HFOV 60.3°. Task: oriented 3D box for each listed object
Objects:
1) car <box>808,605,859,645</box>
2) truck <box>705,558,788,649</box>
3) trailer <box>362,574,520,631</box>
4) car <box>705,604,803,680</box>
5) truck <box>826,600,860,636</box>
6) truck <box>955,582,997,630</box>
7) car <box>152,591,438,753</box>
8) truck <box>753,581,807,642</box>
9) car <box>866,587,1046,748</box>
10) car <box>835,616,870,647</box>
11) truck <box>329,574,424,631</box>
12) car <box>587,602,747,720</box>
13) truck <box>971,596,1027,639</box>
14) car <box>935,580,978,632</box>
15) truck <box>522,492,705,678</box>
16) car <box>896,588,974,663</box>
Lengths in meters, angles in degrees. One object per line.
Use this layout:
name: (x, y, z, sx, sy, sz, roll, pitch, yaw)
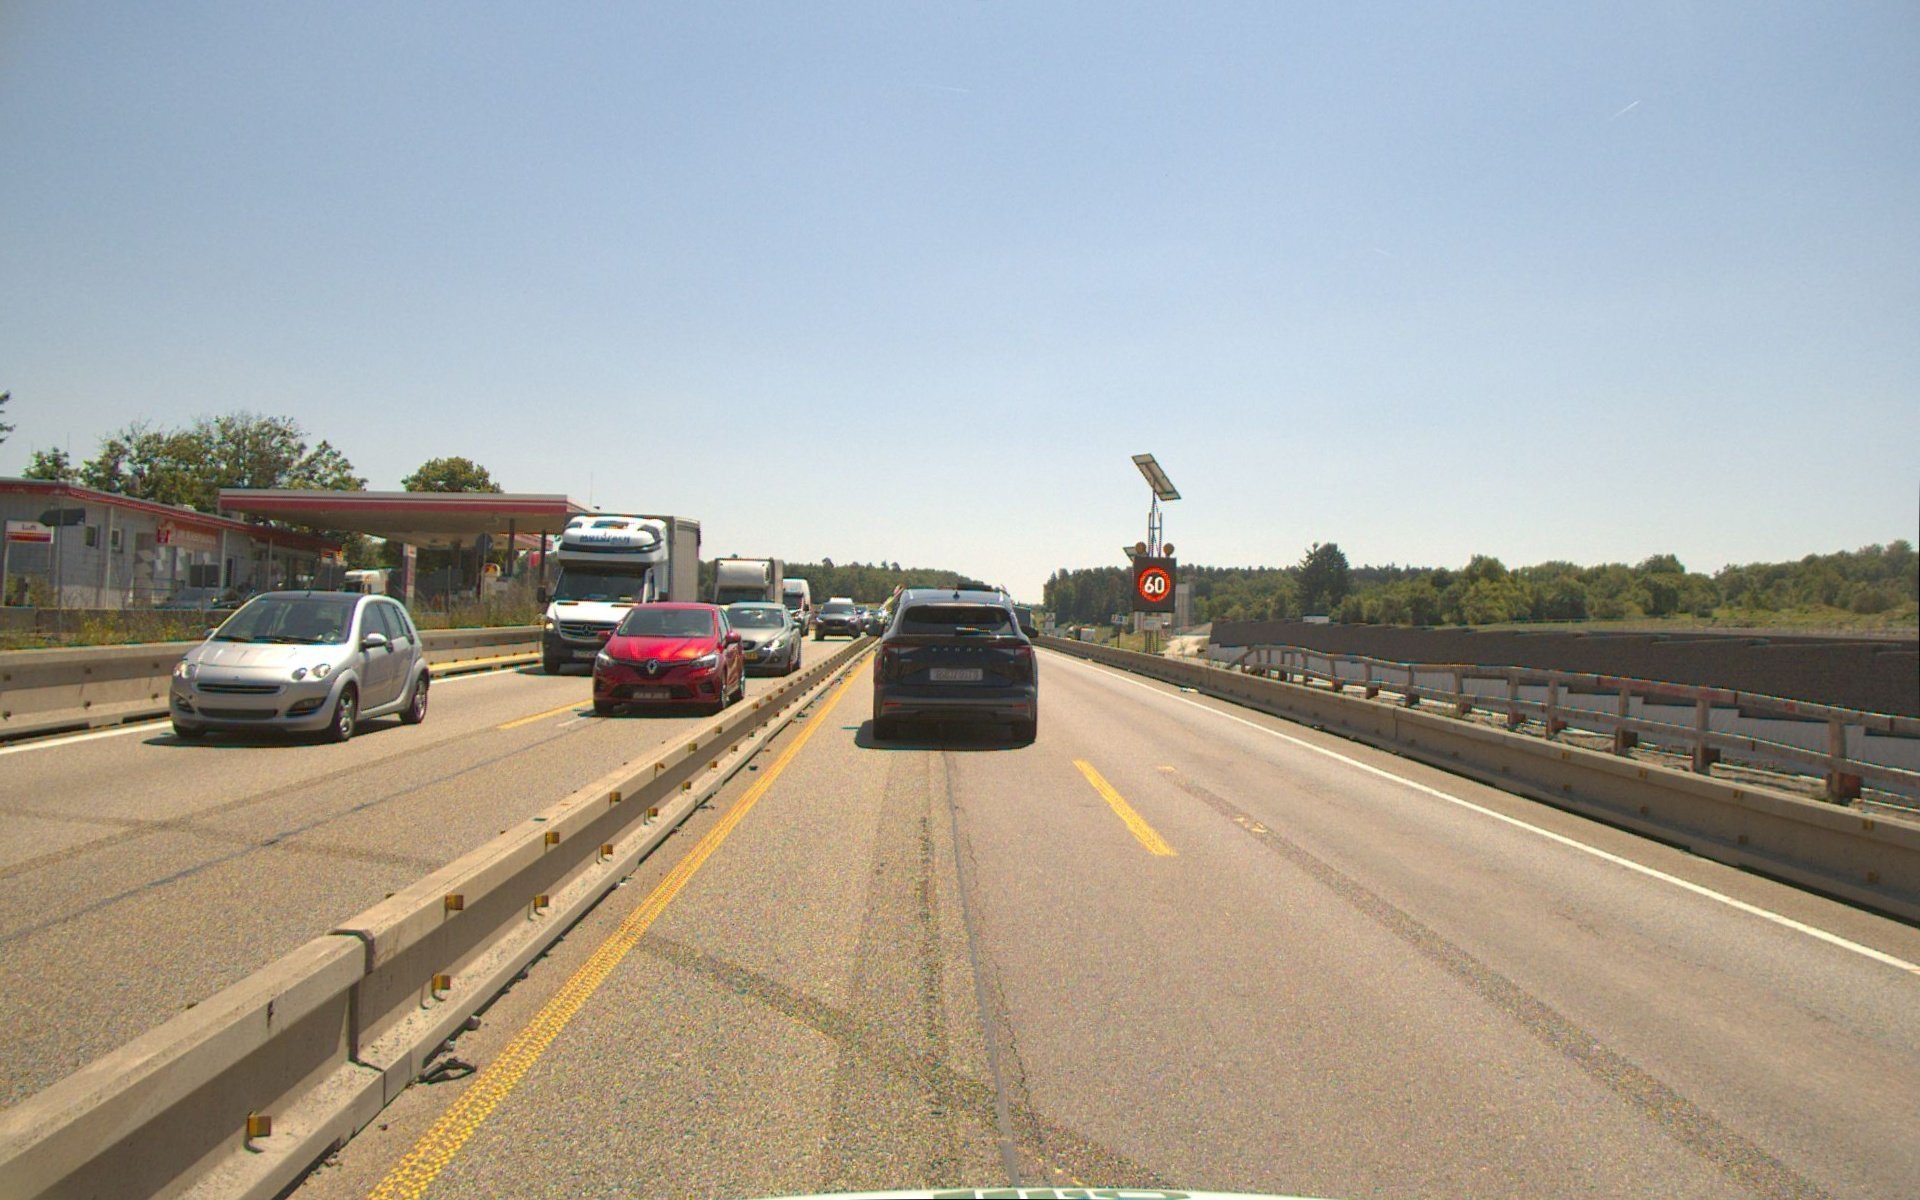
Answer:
car: (-5.431, 1.049, 71.527, 1.903, 1.687, 4.743, 0, 0, -1)
truck: (-8.354, 0.109, 65.528, 2.445, 3.349, 8.114, 0, 0, -2)
trailer: (-40.646, 0.302, 130.333, 3.087, 4.183, 14.152, 0, -1, 25)
car: (-4.242, 0.833, 34.526, 1.648, 1.454, 4.200, 1, 0, -2)
truck: (-9.868, 1.521, 139.891, 2.430, 2.874, 8.126, 2, -1, -1)
truck: (0.996, 0.383, 108.610, 2.618, 2.997, 5.619, 1, 0, -1)
car: (-6.833, 0.679, 17.416, 1.590, 1.473, 3.784, 2, 0, -3)
truck: (-8.761, 0.559, 81.206, 2.194, 2.835, 6.489, 1, 0, -3)
car: (-0.060, 0.690, 18.956, 1.805, 1.609, 3.999, 1, 0, -1)
car: (-6.168, 1.790, 94.565, 1.901, 1.639, 3.996, 1, 0, -5)
truck: (-43.631, 0.230, 123.835, 3.087, 4.055, 6.341, 0, -1, 25)
car: (-3.948, 0.777, 22.850, 1.616, 1.459, 3.998, 1, 0, -2)
truck: (4.792, 2.189, 199.937, 3.406, 4.292, 10.377, 6, -1, 19)
car: (-0.292, 0.581, 148.042, 3.367, 4.171, 9.196, 6, -1, 0)
truck: (-7.131, -0.281, 35.036, 2.341, 3.444, 7.712, 2, 0, -2)
car: (-0.740, 0.702, 45.635, 1.954, 1.876, 3.997, 3, -1, -3)
